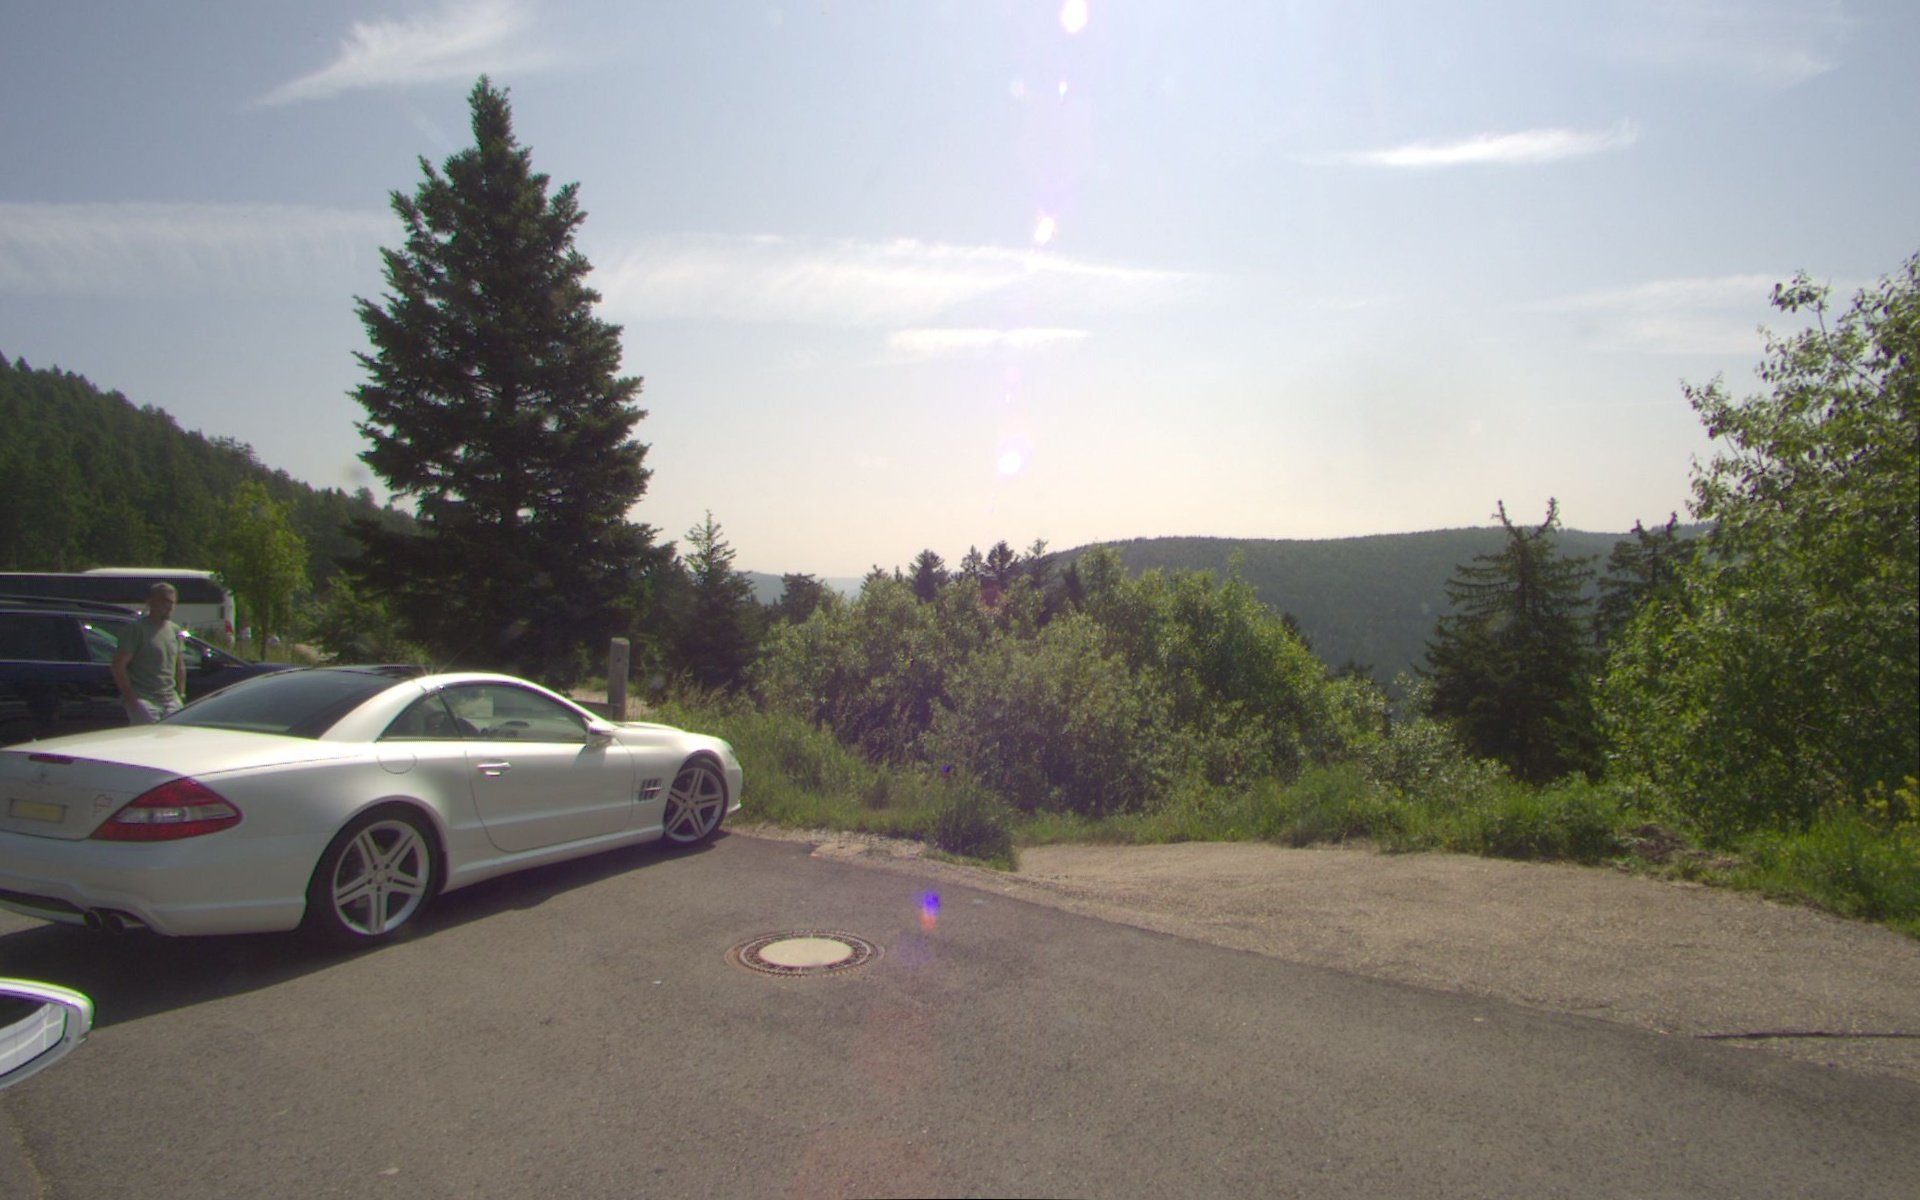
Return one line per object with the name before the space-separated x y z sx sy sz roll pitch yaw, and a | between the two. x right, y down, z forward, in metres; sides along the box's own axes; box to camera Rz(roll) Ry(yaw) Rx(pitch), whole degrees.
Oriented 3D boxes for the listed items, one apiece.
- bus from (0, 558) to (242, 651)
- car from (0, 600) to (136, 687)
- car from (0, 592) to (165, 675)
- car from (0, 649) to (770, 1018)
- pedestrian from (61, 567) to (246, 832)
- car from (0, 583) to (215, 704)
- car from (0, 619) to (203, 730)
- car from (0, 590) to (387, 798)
bus | -36.753 0.172 40.046 12.970 3.580 3.022 -1 1 -36
car | -18.347 0.809 18.841 1.819 1.574 4.218 0 0 44
car | -20.143 0.692 21.162 2.026 1.673 5.003 0 0 44
car | -3.100 0.991 6.115 1.725 1.312 4.405 1 -2 21
pedestrian | -5.885 0.698 7.340 0.722 1.823 0.748 0 -1 12
car | -14.313 0.625 14.955 4.916 1.718 1.926 0 0 -44
car | -12.606 0.940 13.049 1.681 1.394 4.068 0 -2 38
car | -7.919 0.803 9.076 1.847 1.646 4.330 -1 -4 38
